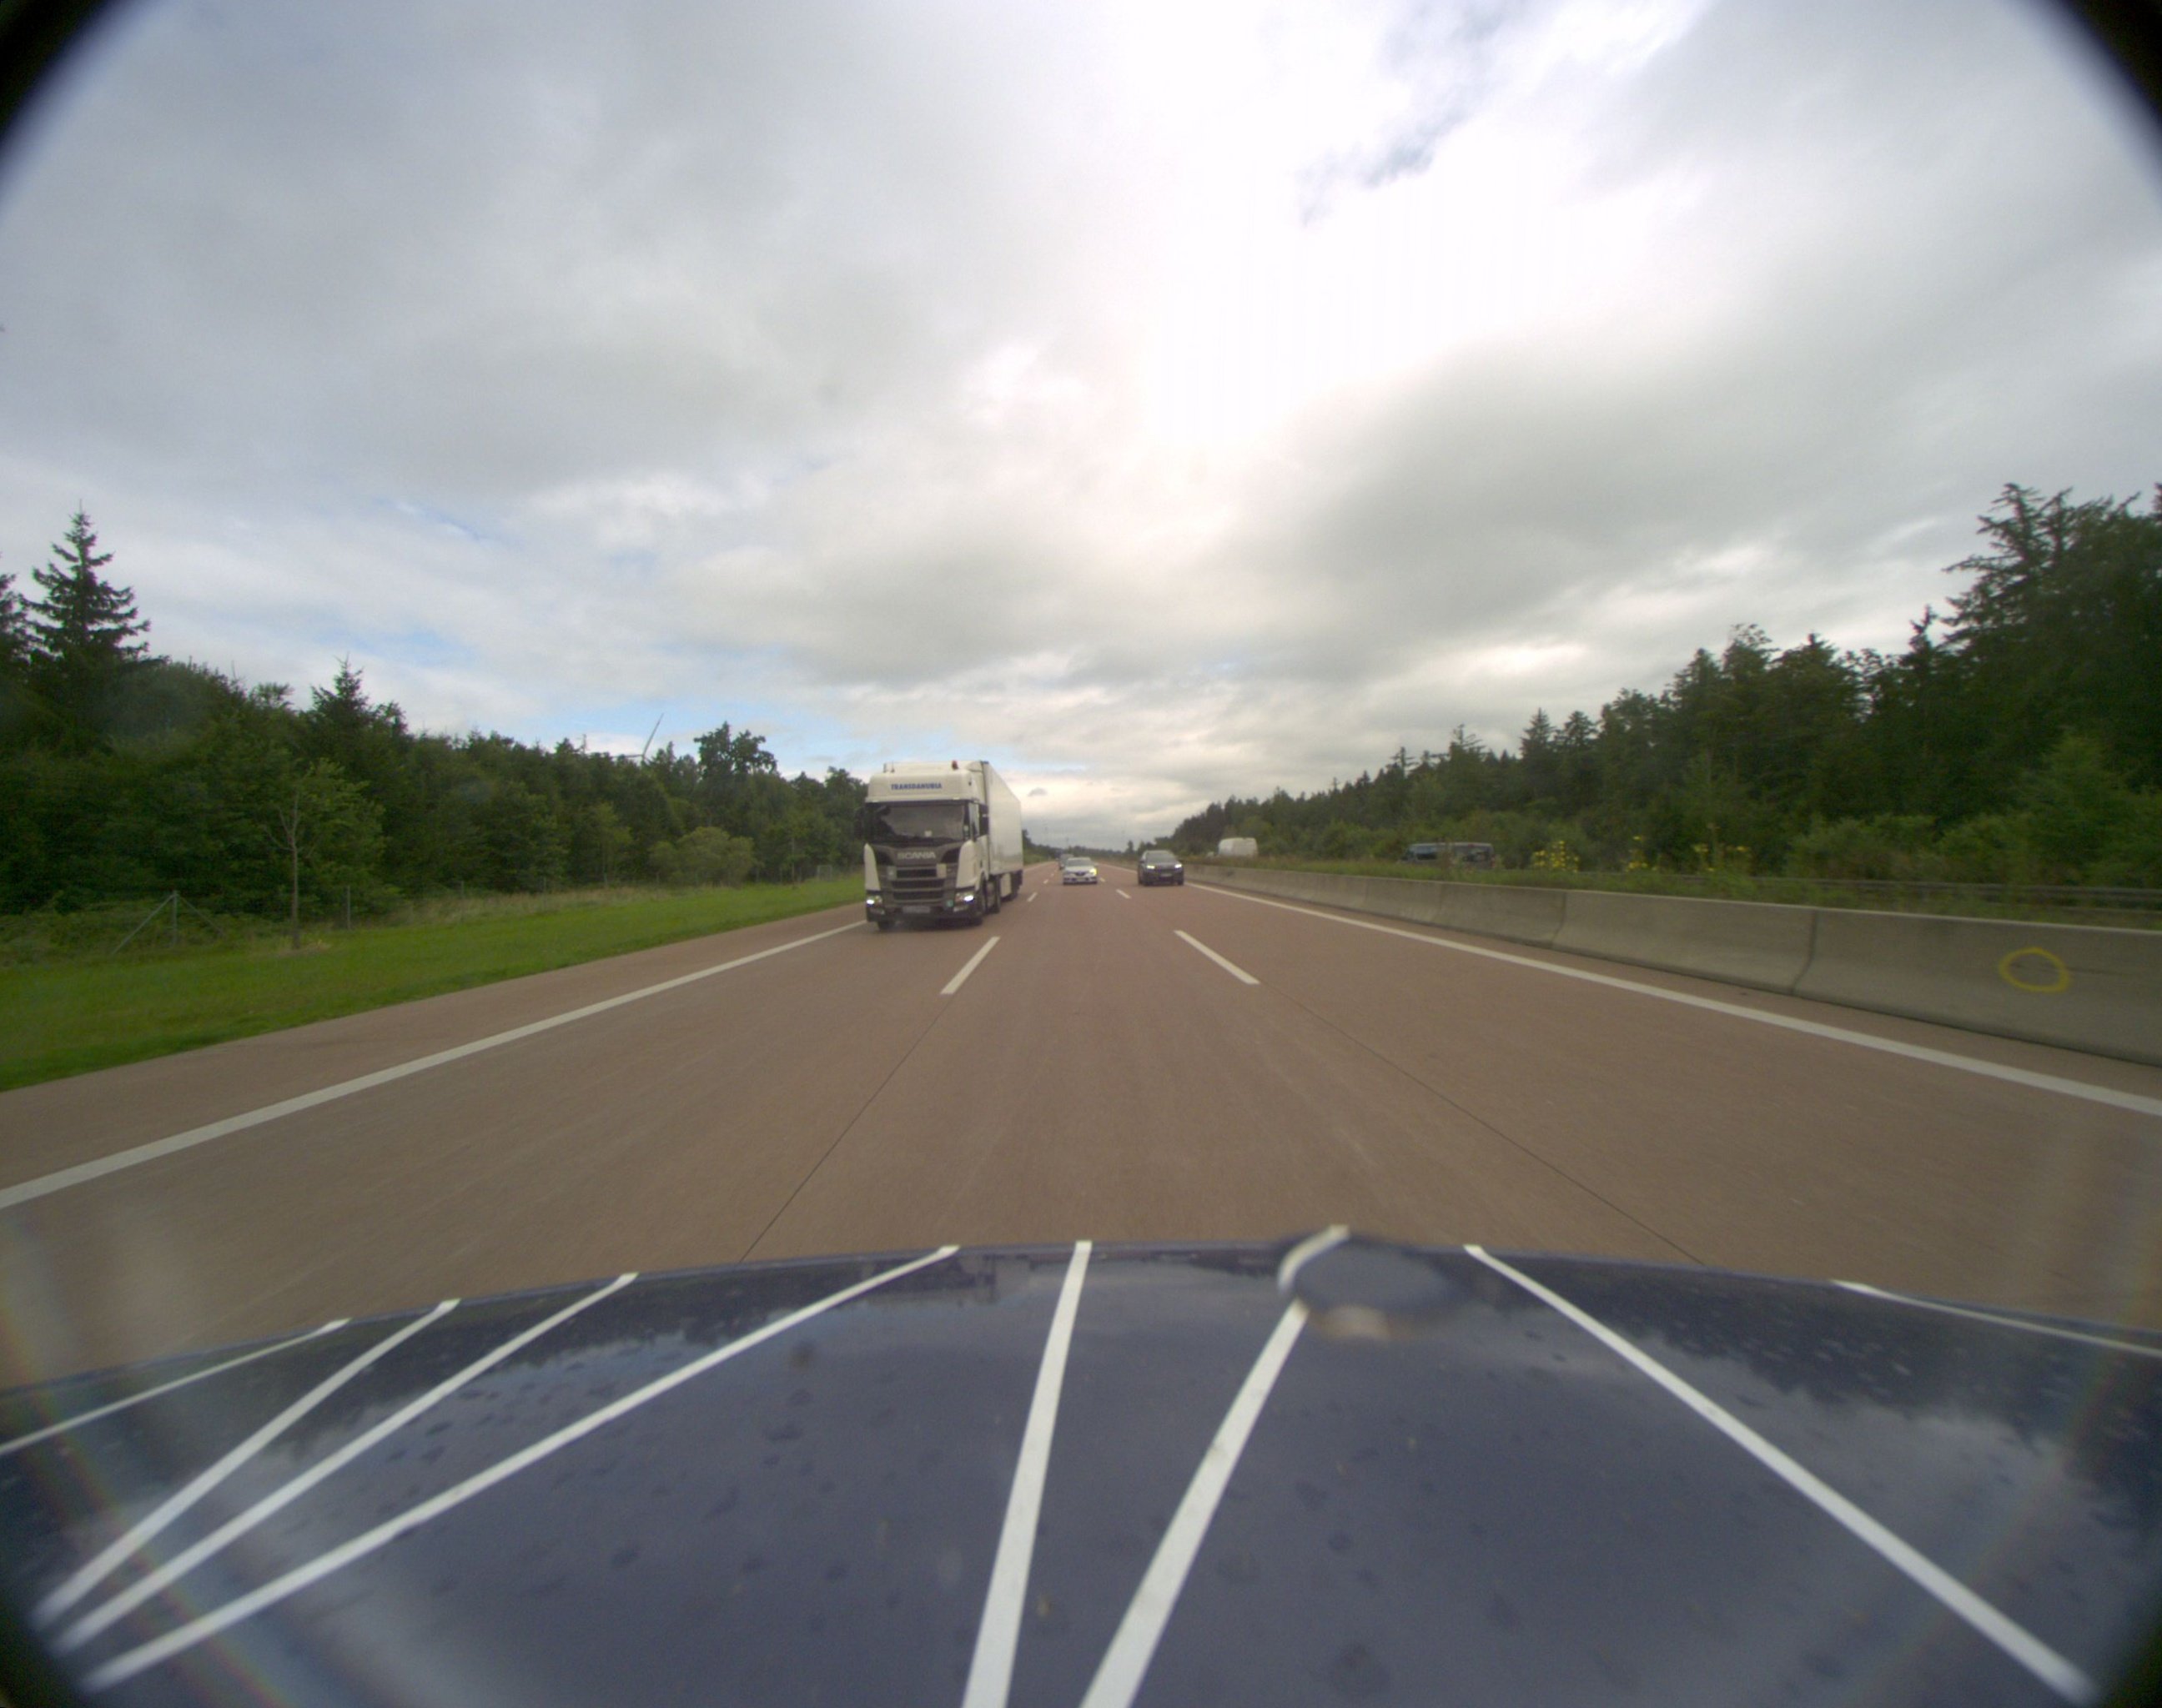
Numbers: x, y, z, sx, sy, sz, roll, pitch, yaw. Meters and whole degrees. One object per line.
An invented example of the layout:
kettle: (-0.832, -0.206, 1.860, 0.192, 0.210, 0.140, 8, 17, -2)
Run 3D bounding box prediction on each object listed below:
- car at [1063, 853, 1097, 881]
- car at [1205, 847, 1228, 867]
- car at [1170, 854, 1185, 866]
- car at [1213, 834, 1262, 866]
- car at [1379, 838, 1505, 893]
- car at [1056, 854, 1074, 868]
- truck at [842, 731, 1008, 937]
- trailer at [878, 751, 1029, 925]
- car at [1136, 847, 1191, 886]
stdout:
car: (-0.040, 0.735, 45.338, 1.923, 1.515, 4.000, -2, 0, 1)
car: (14.821, 0.317, 82.987, 1.676, 1.969, 3.999, -3, 0, 0)
car: (14.789, 0.880, 116.759, 1.788, 1.762, 3.752, -3, 0, -1)
car: (11.595, -0.318, 56.920, 2.078, 2.129, 7.487, -3, 0, 1)
car: (15.119, 0.437, 32.355, 2.228, 2.002, 6.377, -3, 0, -1)
car: (-1.820, 0.763, 87.414, 1.986, 1.499, 4.052, -2, 0, 0)
truck: (-3.557, -0.437, 18.749, 2.929, 4.269, 5.333, -2, 0, -1)
trailer: (-3.653, -0.434, 25.830, 2.929, 4.269, 13.611, -2, 0, -1)
car: (3.908, 0.550, 36.969, 1.999, 1.689, 5.252, -2, 0, -1)
